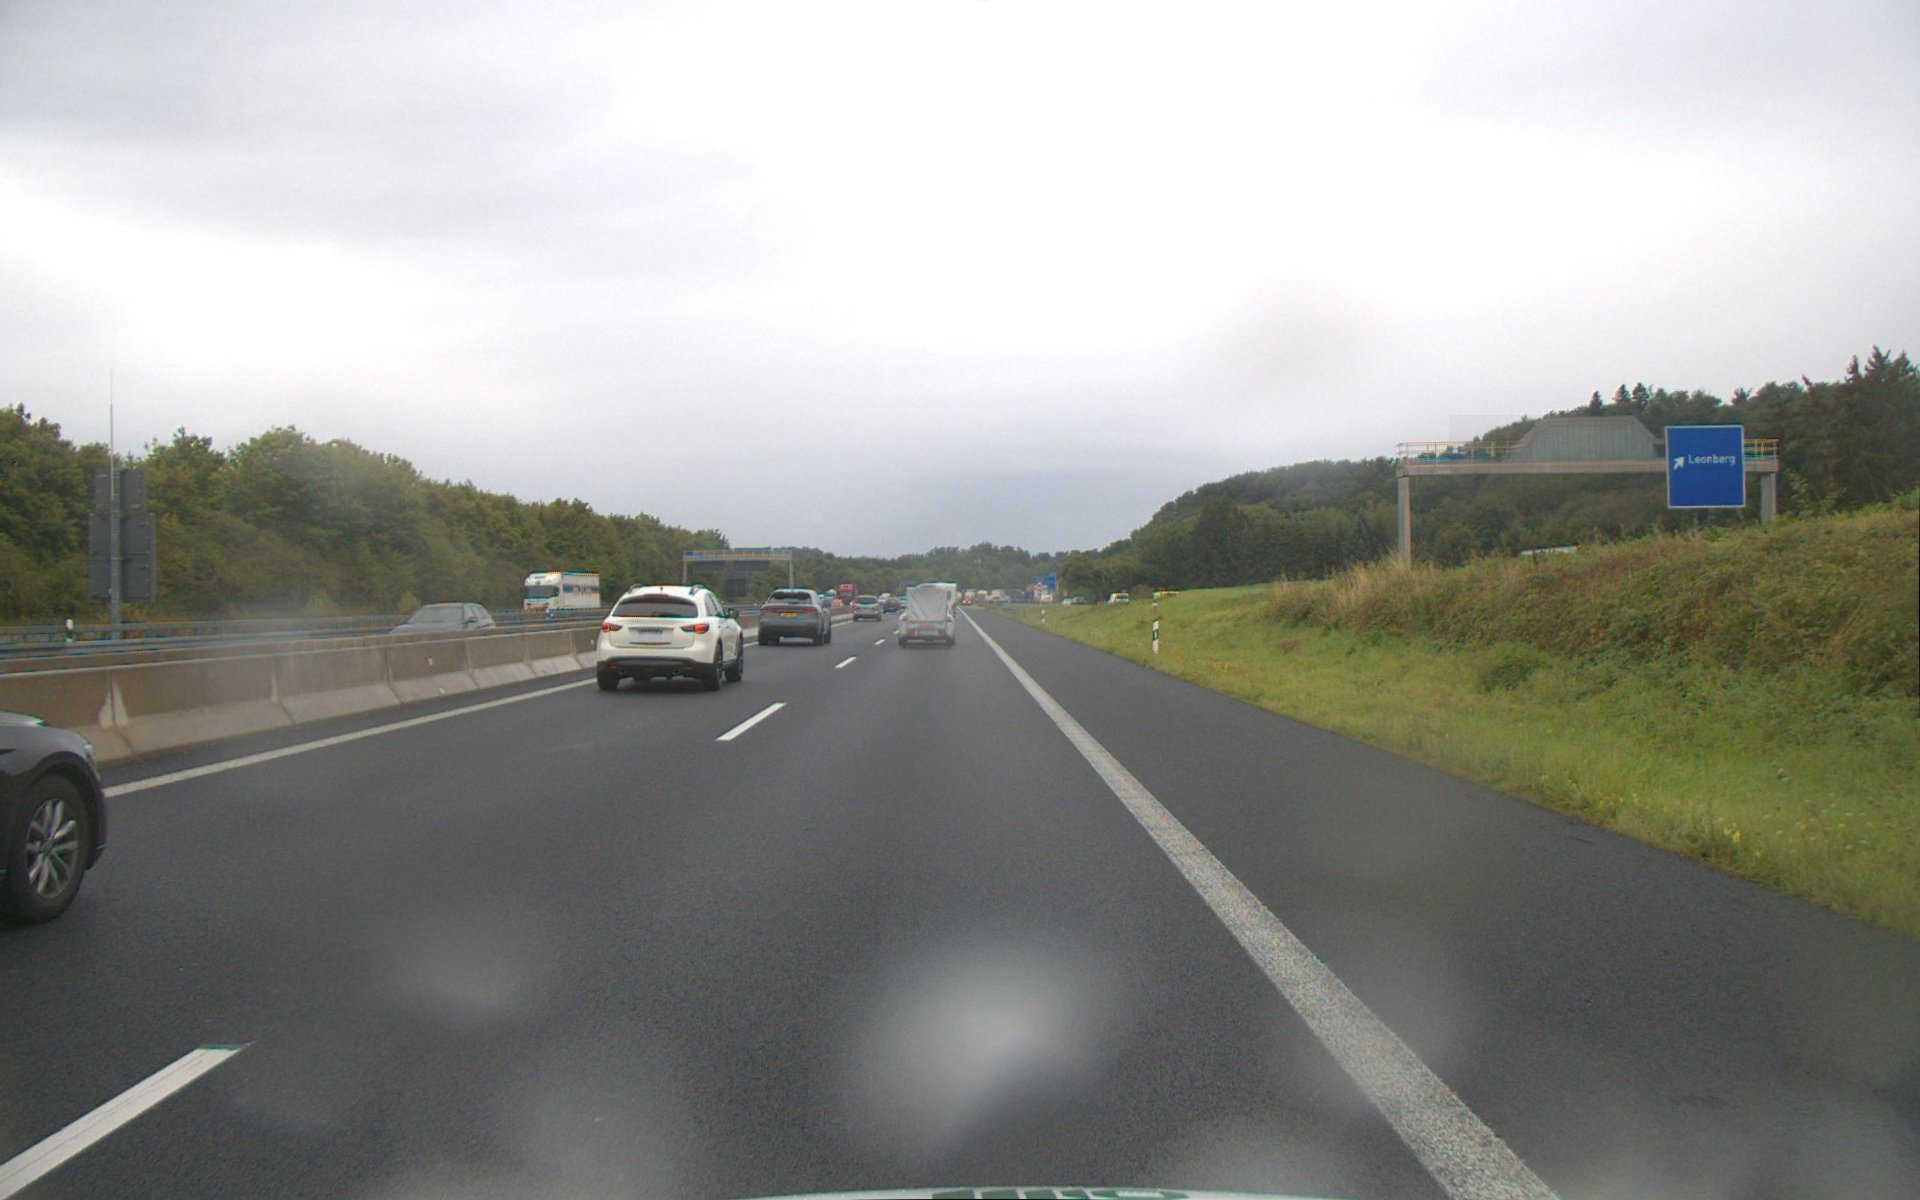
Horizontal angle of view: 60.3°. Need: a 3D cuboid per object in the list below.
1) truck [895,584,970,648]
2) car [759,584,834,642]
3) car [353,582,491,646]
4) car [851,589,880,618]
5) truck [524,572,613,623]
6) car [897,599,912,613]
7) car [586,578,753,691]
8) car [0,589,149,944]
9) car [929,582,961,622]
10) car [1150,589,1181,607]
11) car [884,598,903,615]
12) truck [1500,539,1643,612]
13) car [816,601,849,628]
[{"bbox_3d":[-0.892,0.473,52.489,2.197,1.871,6.583,1,0,-1],"label":"truck"},{"bbox_3d":[-5.105,0.376,52.302,1.935,1.733,4.801,1,0,-1],"label":"car"},{"bbox_3d":[-12.779,0.304,39.565,1.818,1.416,4.445,-1,0,0],"label":"car"},{"bbox_3d":[-6.100,0.239,106.878,1.703,1.825,3.999,1,0,-1],"label":"car"},{"bbox_3d":[-32.104,-0.243,136.691,3.112,3.875,17.134,-1,0,0],"label":"truck"},{"bbox_3d":[-6.510,0.686,195.706,1.611,1.601,4.000,1,0,0],"label":"car"},{"bbox_3d":[-4.717,0.525,27.524,2.007,1.700,4.540,1,0,-1],"label":"car"},{"bbox_3d":[-4.896,0.688,5.742,1.751,1.484,4.802,1,0,0],"label":"car"},{"bbox_3d":[-1.096,0.164,120.675,2.284,2.773,6.538,1,0,-1],"label":"car"},{"bbox_3d":[18.593,-0.156,149.843,1.955,1.579,3.995,1,0,-5],"label":"car"},{"bbox_3d":[-6.191,0.621,154.804,1.611,1.601,4.000,1,0,0],"label":"car"},{"bbox_3d":[33.026,-1.261,89.757,3.754,3.723,8.254,1,0,-9],"label":"truck"},{"bbox_3d":[-8.202,0.930,106.624,1.782,1.691,4.017,0,0,0],"label":"car"}]
